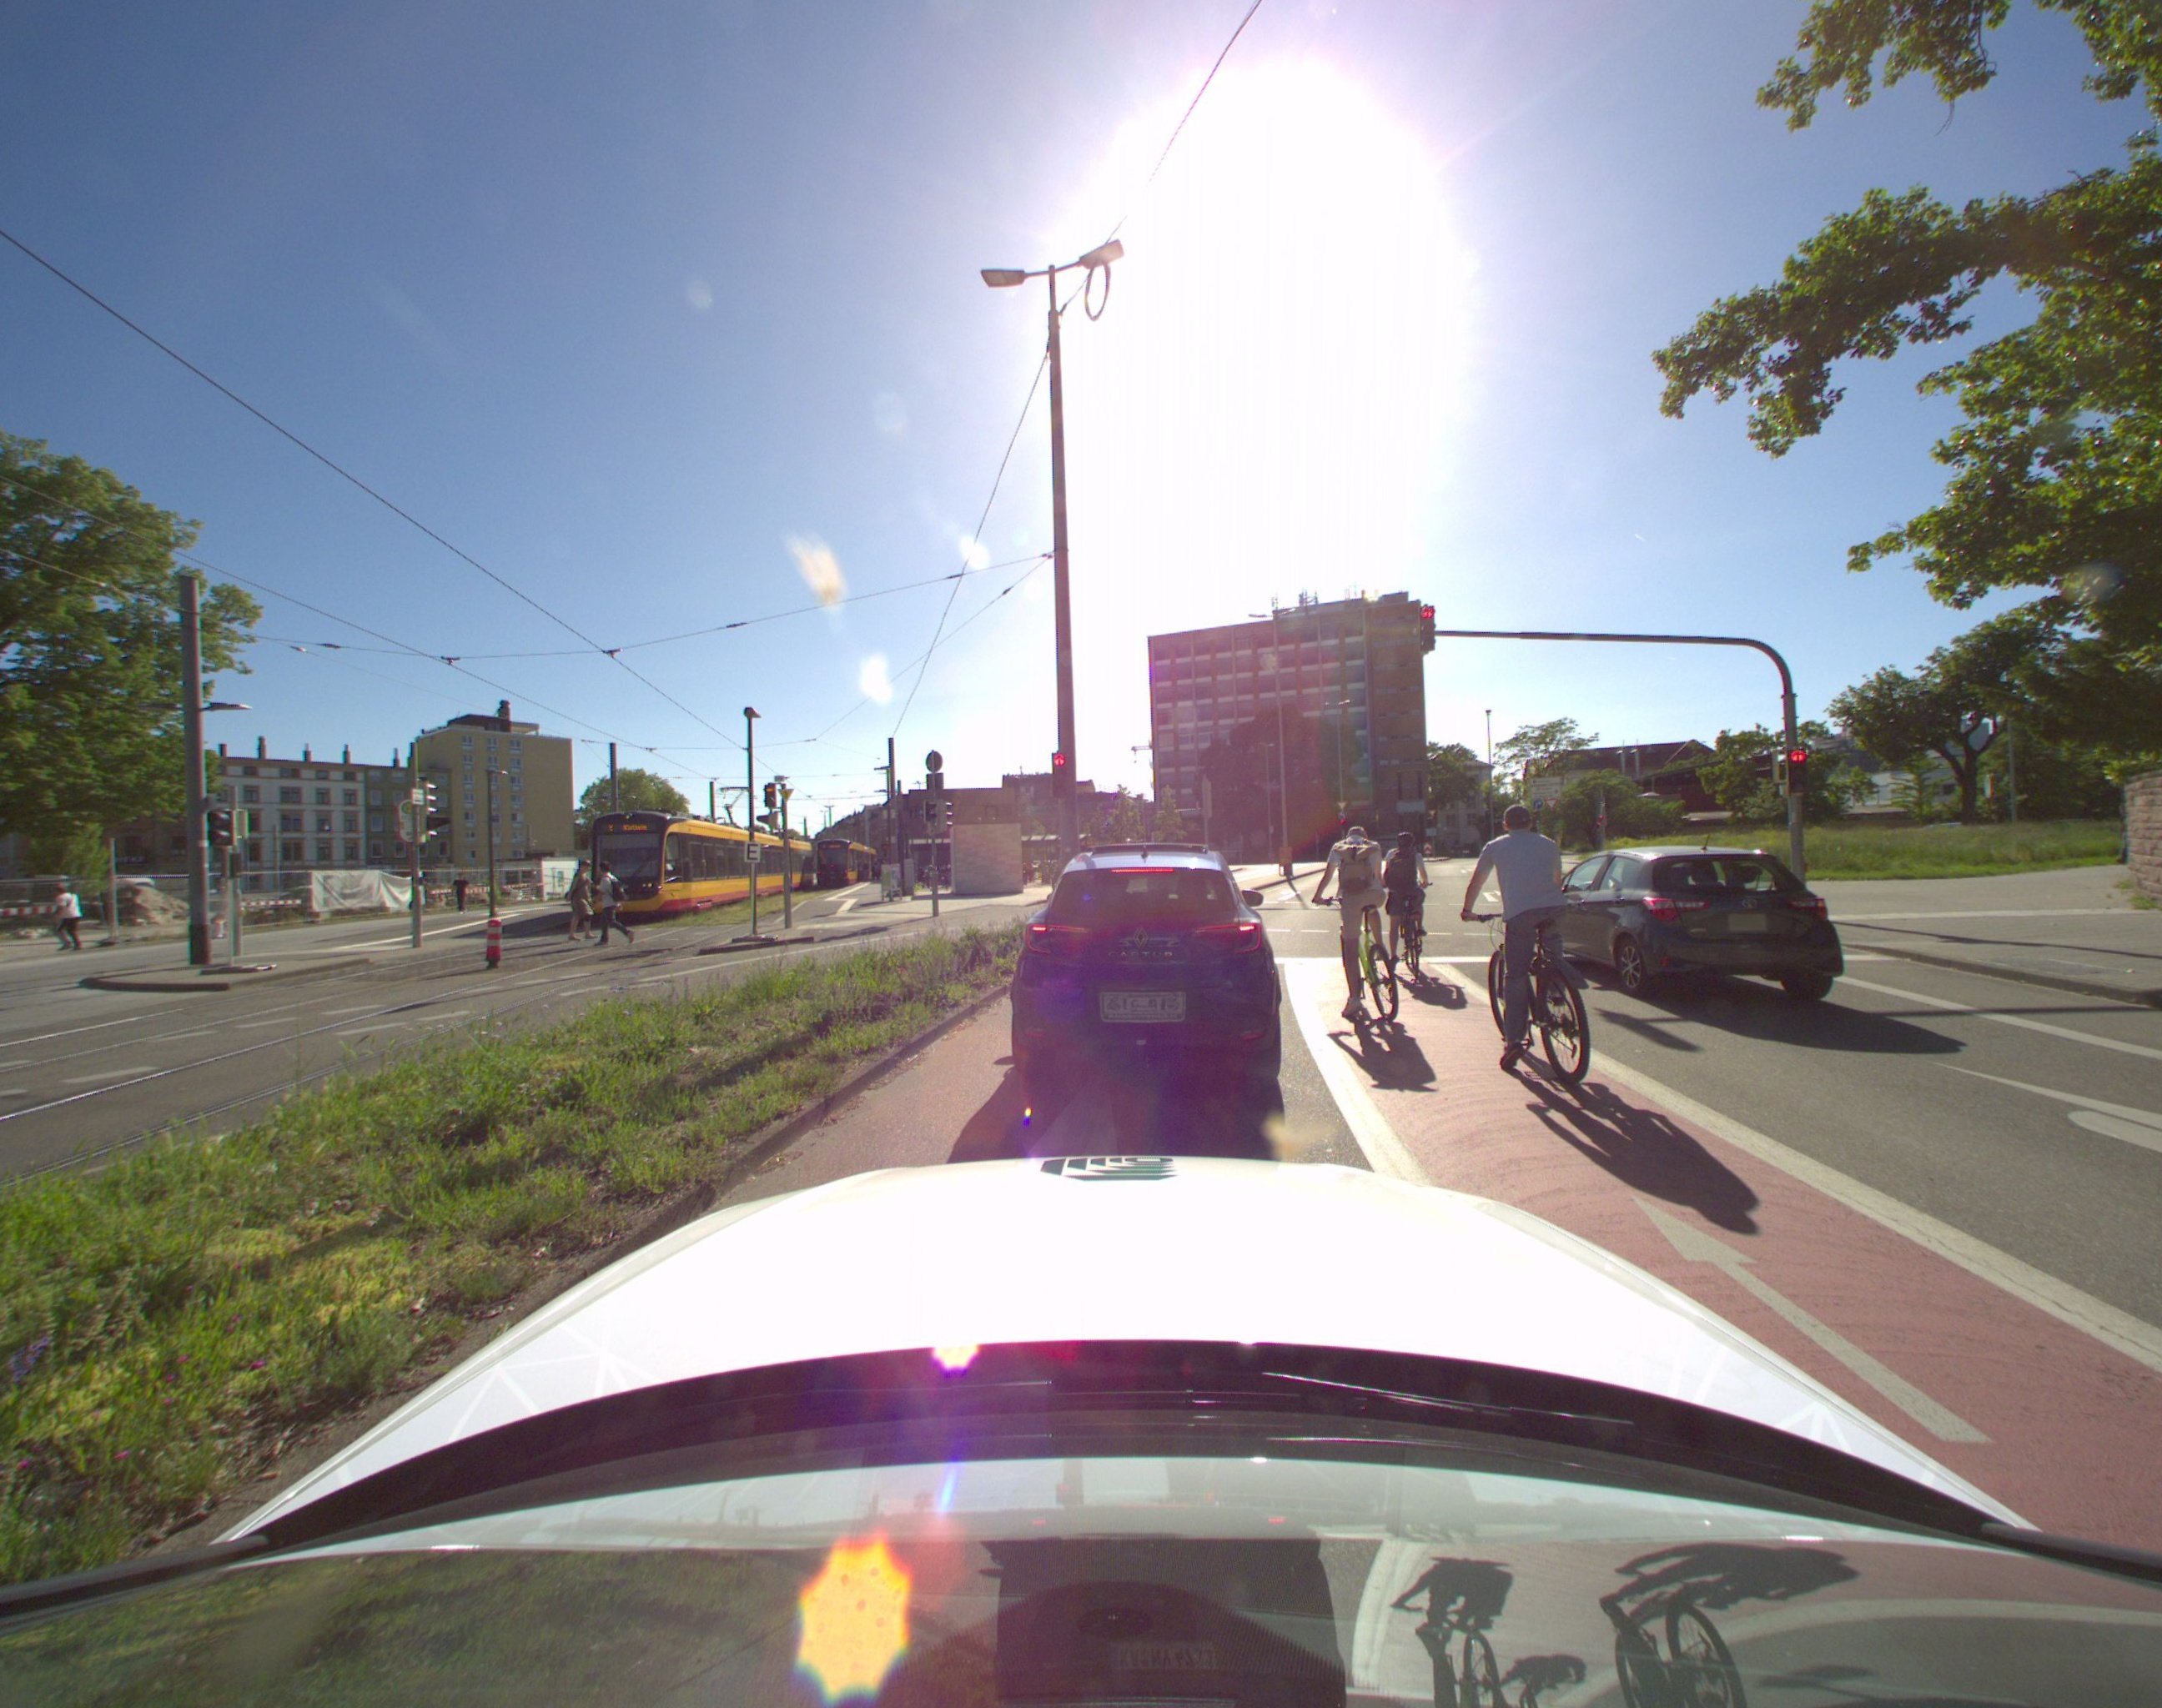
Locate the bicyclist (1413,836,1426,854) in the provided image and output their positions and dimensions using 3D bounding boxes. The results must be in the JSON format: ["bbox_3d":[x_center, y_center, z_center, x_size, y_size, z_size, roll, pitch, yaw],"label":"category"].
[{"bbox_3d":[36.308,-0.919,87.378,1.195,1.897,0.889,-2,-2,27],"label":"bicyclist"}]

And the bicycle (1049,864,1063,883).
[{"bbox_3d":[-1.326,1.038,43.294,0.580,0.961,2.053,-1,-1,-7],"label":"bicycle"}]

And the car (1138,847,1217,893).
[{"bbox_3d":[3.653,0.564,30.161,1.784,1.393,4.116,-2,2,23],"label":"car"}]

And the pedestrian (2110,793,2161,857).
[{"bbox_3d":[31.460,-0.873,24.239,1.052,1.832,0.754,-2,-1,-27],"label":"pedestrian"}]

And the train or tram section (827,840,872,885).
[{"bbox_3d":[-19.764,0.702,70.013,2.873,3.508,10.499,-1,0,-12],"label":"train or tram section"}]

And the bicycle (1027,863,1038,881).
[{"bbox_3d":[-2.926,1.085,48.908,0.580,1.088,2.053,-1,-1,-7],"label":"bicycle"}]

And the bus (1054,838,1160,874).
[{"bbox_3d":[2.566,0.307,86.836,12.287,3.396,2.900,-2,-2,42],"label":"bus"}]

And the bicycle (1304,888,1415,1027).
[{"bbox_3d":[2.579,0.907,7.737,0.659,1.047,1.895,-2,1,9],"label":"bicycle"}]

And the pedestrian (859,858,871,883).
[{"bbox_3d":[-16.143,1.225,60.859,0.848,1.883,0.757,-1,-2,-14],"label":"pedestrian"}]

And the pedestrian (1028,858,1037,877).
[{"bbox_3d":[-4.788,1.349,80.506,0.721,1.857,0.705,-1,-2,10],"label":"pedestrian"}]

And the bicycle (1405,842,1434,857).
[{"bbox_3d":[36.311,-0.512,87.383,2.775,1.541,0.889,-2,-2,27],"label":"bicycle"}]

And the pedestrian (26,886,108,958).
[{"bbox_3d":[-26.570,1.769,21.362,0.971,1.767,0.861,-2,0,-12],"label":"pedestrian"}]

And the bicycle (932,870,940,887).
[{"bbox_3d":[-8.538,1.447,47.974,0.422,0.938,1.300,0,-1,-13],"label":"bicycle"}]

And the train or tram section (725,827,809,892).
[{"bbox_3d":[-18.906,0.353,49.742,2.818,3.508,11.166,-1,0,-11],"label":"train or tram section"}]

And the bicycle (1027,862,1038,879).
[{"bbox_3d":[-3.358,1.147,56.398,0.580,1.088,1.865,-1,-1,-9],"label":"bicycle"}]

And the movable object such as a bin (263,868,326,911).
[{"bbox_3d":[-53.465,2.411,55.359,3.950,2.796,1.844,-2,-2,26],"label":"movable object such as a bin"}]

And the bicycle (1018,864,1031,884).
[{"bbox_3d":[-2.968,1.058,42.870,0.580,1.058,1.812,-1,-1,-7],"label":"bicycle"}]

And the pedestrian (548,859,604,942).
[{"bbox_3d":[-11.815,1.065,19.082,0.902,1.850,0.759,-2,2,-20],"label":"pedestrian"}]

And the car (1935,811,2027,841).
[{"bbox_3d":[69.131,-2.133,62.638,4.305,2.014,2.013,-2,-2,33],"label":"car"}]

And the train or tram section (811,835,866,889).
[{"bbox_3d":[-17.600,0.598,59.716,2.873,3.508,10.499,-1,0,-12],"label":"train or tram section"}]

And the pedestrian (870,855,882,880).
[{"bbox_3d":[-15.563,0.997,61.836,0.848,1.883,0.757,-1,-2,-14],"label":"pedestrian"}]

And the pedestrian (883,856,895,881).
[{"bbox_3d":[-14.856,1.133,62.930,0.848,1.883,0.757,-1,-2,-14],"label":"pedestrian"}]

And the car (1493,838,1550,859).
[{"bbox_3d":[38.382,-0.499,71.029,4.197,1.568,1.834,-4,-1,25],"label":"car"}]

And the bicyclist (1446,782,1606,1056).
[{"bbox_3d":[3.143,0.428,5.863,0.744,1.776,1.018,-2,-1,15],"label":"bicyclist"}]

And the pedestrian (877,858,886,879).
[{"bbox_3d":[-18.026,1.289,73.476,0.700,1.857,0.632,-1,-2,-10],"label":"pedestrian"}]

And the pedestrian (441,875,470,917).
[{"bbox_3d":[-27.312,1.837,35.577,0.668,1.767,0.796,-2,0,-13],"label":"pedestrian"}]

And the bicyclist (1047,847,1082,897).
[{"bbox_3d":[-0.561,0.616,28.253,0.873,1.644,1.065,-3,-1,16],"label":"bicyclist"}]

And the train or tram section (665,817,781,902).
[{"bbox_3d":[-16.806,0.274,39.151,2.818,3.508,10.569,-1,0,-11],"label":"train or tram section"}]

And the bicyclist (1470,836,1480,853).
[{"bbox_3d":[42.212,-1.020,87.266,0.850,1.692,0.889,-2,-2,27],"label":"bicyclist"}]

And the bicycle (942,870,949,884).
[{"bbox_3d":[-8.814,1.494,53.006,0.421,0.938,1.374,0,-1,-9],"label":"bicycle"}]

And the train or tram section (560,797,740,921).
[{"bbox_3d":[-14.694,0.183,28.868,2.820,3.508,10.433,-2,0,-12],"label":"train or tram section"}]

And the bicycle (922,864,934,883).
[{"bbox_3d":[-8.668,1.112,46.260,0.565,1.093,2.023,-1,-1,-9],"label":"bicycle"}]

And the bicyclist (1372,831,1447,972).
[{"bbox_3d":[3.996,0.550,9.975,0.716,1.626,1.059,-1,0,16],"label":"bicyclist"}]

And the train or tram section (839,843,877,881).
[{"bbox_3d":[-21.866,0.777,80.232,2.873,3.508,10.499,-1,0,-12],"label":"train or tram section"}]

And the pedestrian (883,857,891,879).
[{"bbox_3d":[-17.112,1.234,71.770,0.632,1.857,0.700,-1,-2,-9],"label":"pedestrian"}]

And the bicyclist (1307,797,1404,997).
[{"bbox_3d":[2.554,0.380,7.678,0.660,1.747,1.008,-2,0,9],"label":"bicyclist"}]

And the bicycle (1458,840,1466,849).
[{"bbox_3d":[45.478,-1.113,97.308,0.603,1.093,1.682,-3,0,32],"label":"bicycle"}]

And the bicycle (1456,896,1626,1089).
[{"bbox_3d":[3.237,0.896,5.910,0.606,1.077,1.837,-2,0,15],"label":"bicycle"}]

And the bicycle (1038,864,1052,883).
[{"bbox_3d":[-1.940,1.048,43.221,0.580,0.961,2.053,-1,-1,-7],"label":"bicycle"}]

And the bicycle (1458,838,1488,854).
[{"bbox_3d":[42.047,-0.853,87.328,2.775,1.541,0.889,-2,-2,27],"label":"bicycle"}]

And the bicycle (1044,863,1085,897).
[{"bbox_3d":[-0.546,0.897,28.200,0.767,1.080,2.044,-3,-1,16],"label":"bicycle"}]

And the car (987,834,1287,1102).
[{"bbox_3d":[0.566,0.690,6.788,1.813,1.600,3.666,-1,0,8],"label":"car"}]

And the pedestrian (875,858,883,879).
[{"bbox_3d":[-17.519,1.265,70.692,0.634,1.857,0.699,0,-2,-17],"label":"pedestrian"}]

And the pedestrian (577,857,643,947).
[{"bbox_3d":[-10.139,1.015,17.558,1.017,1.832,0.757,-2,-1,-14],"label":"pedestrian"}]

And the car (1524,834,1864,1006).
[{"bbox_3d":[6.565,0.582,9.263,1.744,1.541,3.671,0,0,13],"label":"car"}]

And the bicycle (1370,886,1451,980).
[{"bbox_3d":[4.020,0.917,10.065,0.717,0.960,1.892,-1,0,16],"label":"bicycle"}]

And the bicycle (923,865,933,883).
[{"bbox_3d":[-9.856,1.281,52.599,0.565,1.093,2.023,-1,-1,-9],"label":"bicycle"}]

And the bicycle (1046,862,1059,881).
[{"bbox_3d":[-1.719,1.064,48.951,0.580,1.088,2.053,-1,-1,-7],"label":"bicycle"}]

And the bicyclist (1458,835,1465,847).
[{"bbox_3d":[45.440,-1.588,97.282,0.612,1.444,0.824,-2,0,32],"label":"bicyclist"}]
